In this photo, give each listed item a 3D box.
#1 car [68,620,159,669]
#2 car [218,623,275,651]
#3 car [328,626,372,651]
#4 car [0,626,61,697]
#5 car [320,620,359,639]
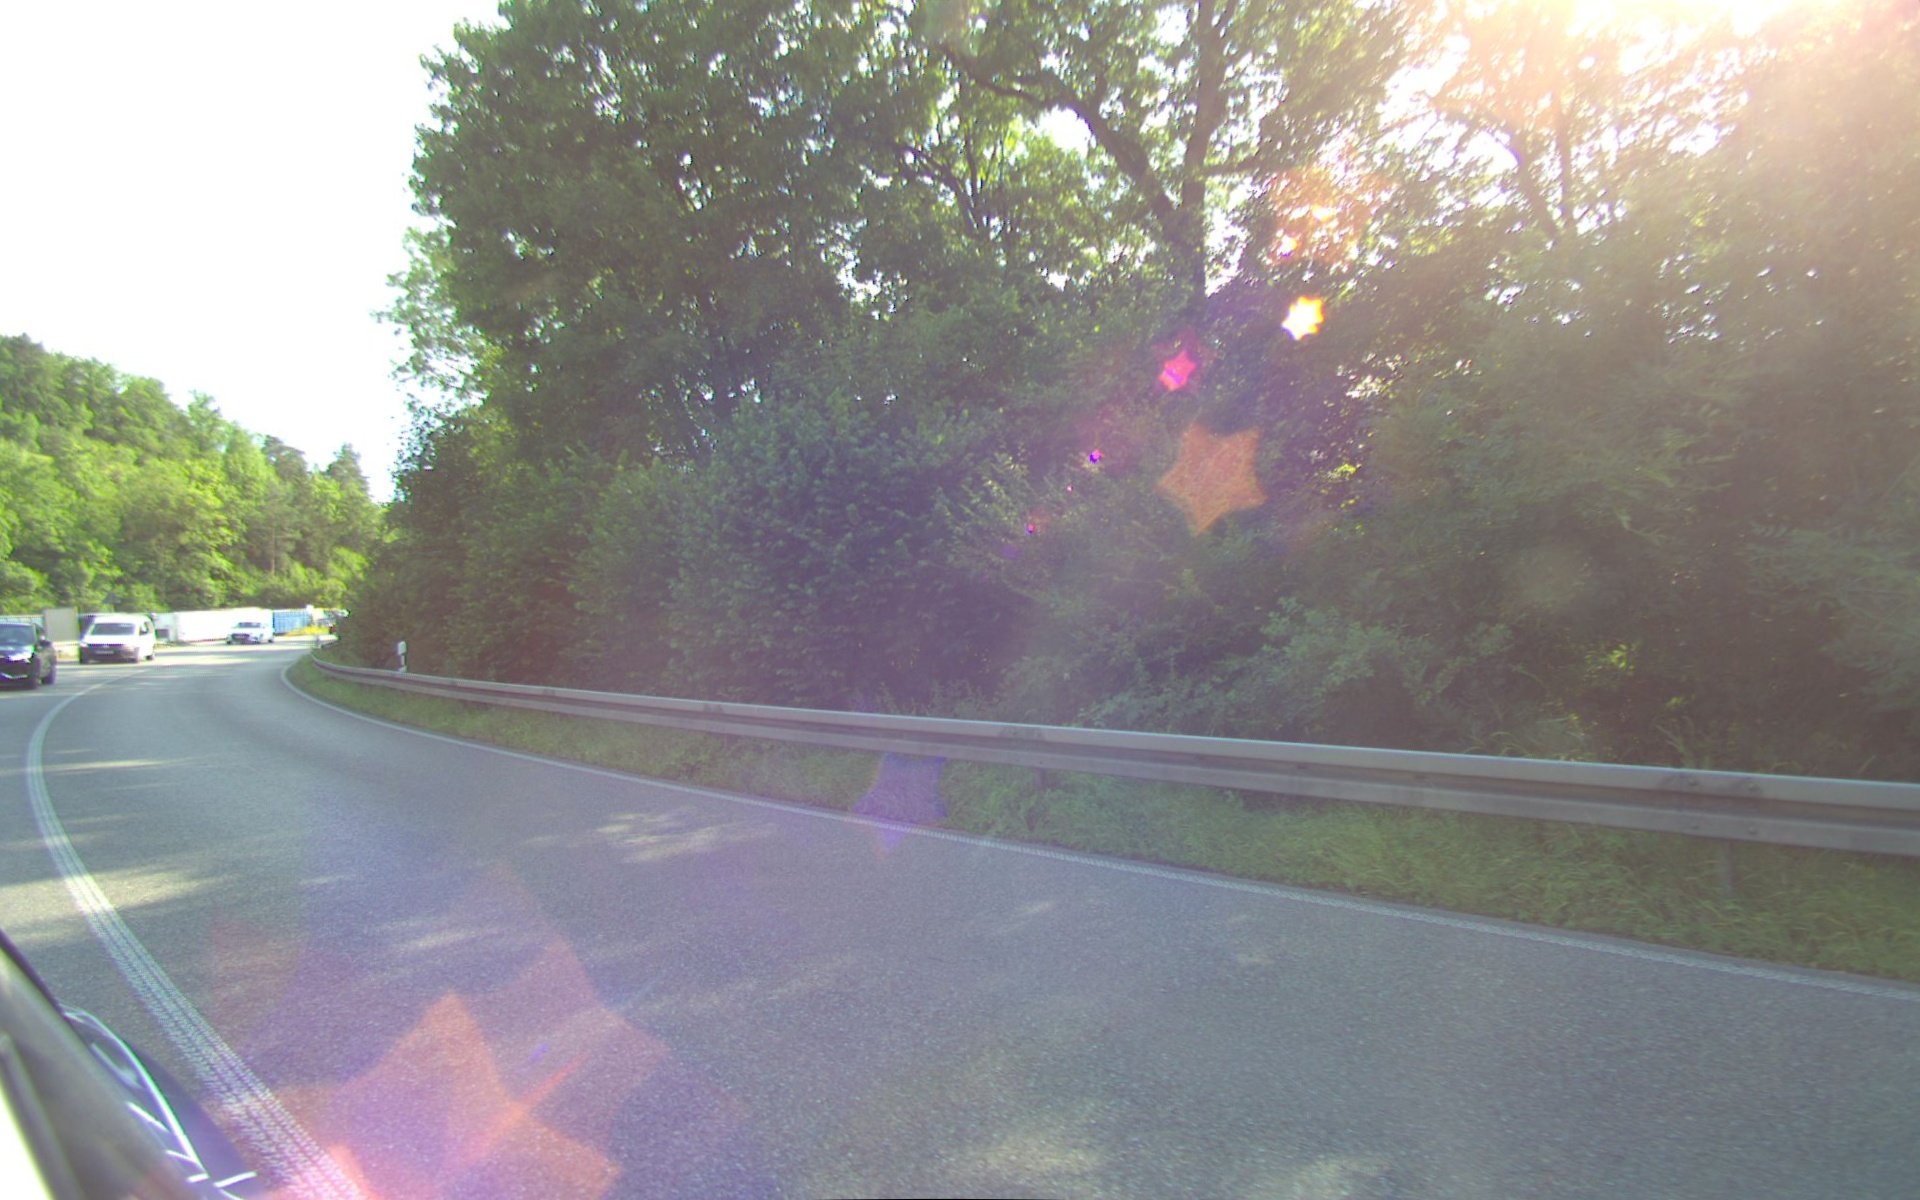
[{"bbox_3d":[-33.007,1.680,39.609,1.837,1.733,4.778,0,-1,-29],"label":"car"},{"bbox_3d":[-43.890,2.249,62.334,1.865,1.456,4.490,-3,1,-23],"label":"car"},{"bbox_3d":[-41.945,2.658,69.699,1.841,1.666,4.564,0,-2,-21],"label":"car"},{"bbox_3d":[-23.615,1.456,24.860,1.819,1.581,4.267,0,-1,-35],"label":"car"},{"bbox_3d":[-51.989,2.437,84.858,1.829,1.431,4.433,-3,1,-18],"label":"car"}]
